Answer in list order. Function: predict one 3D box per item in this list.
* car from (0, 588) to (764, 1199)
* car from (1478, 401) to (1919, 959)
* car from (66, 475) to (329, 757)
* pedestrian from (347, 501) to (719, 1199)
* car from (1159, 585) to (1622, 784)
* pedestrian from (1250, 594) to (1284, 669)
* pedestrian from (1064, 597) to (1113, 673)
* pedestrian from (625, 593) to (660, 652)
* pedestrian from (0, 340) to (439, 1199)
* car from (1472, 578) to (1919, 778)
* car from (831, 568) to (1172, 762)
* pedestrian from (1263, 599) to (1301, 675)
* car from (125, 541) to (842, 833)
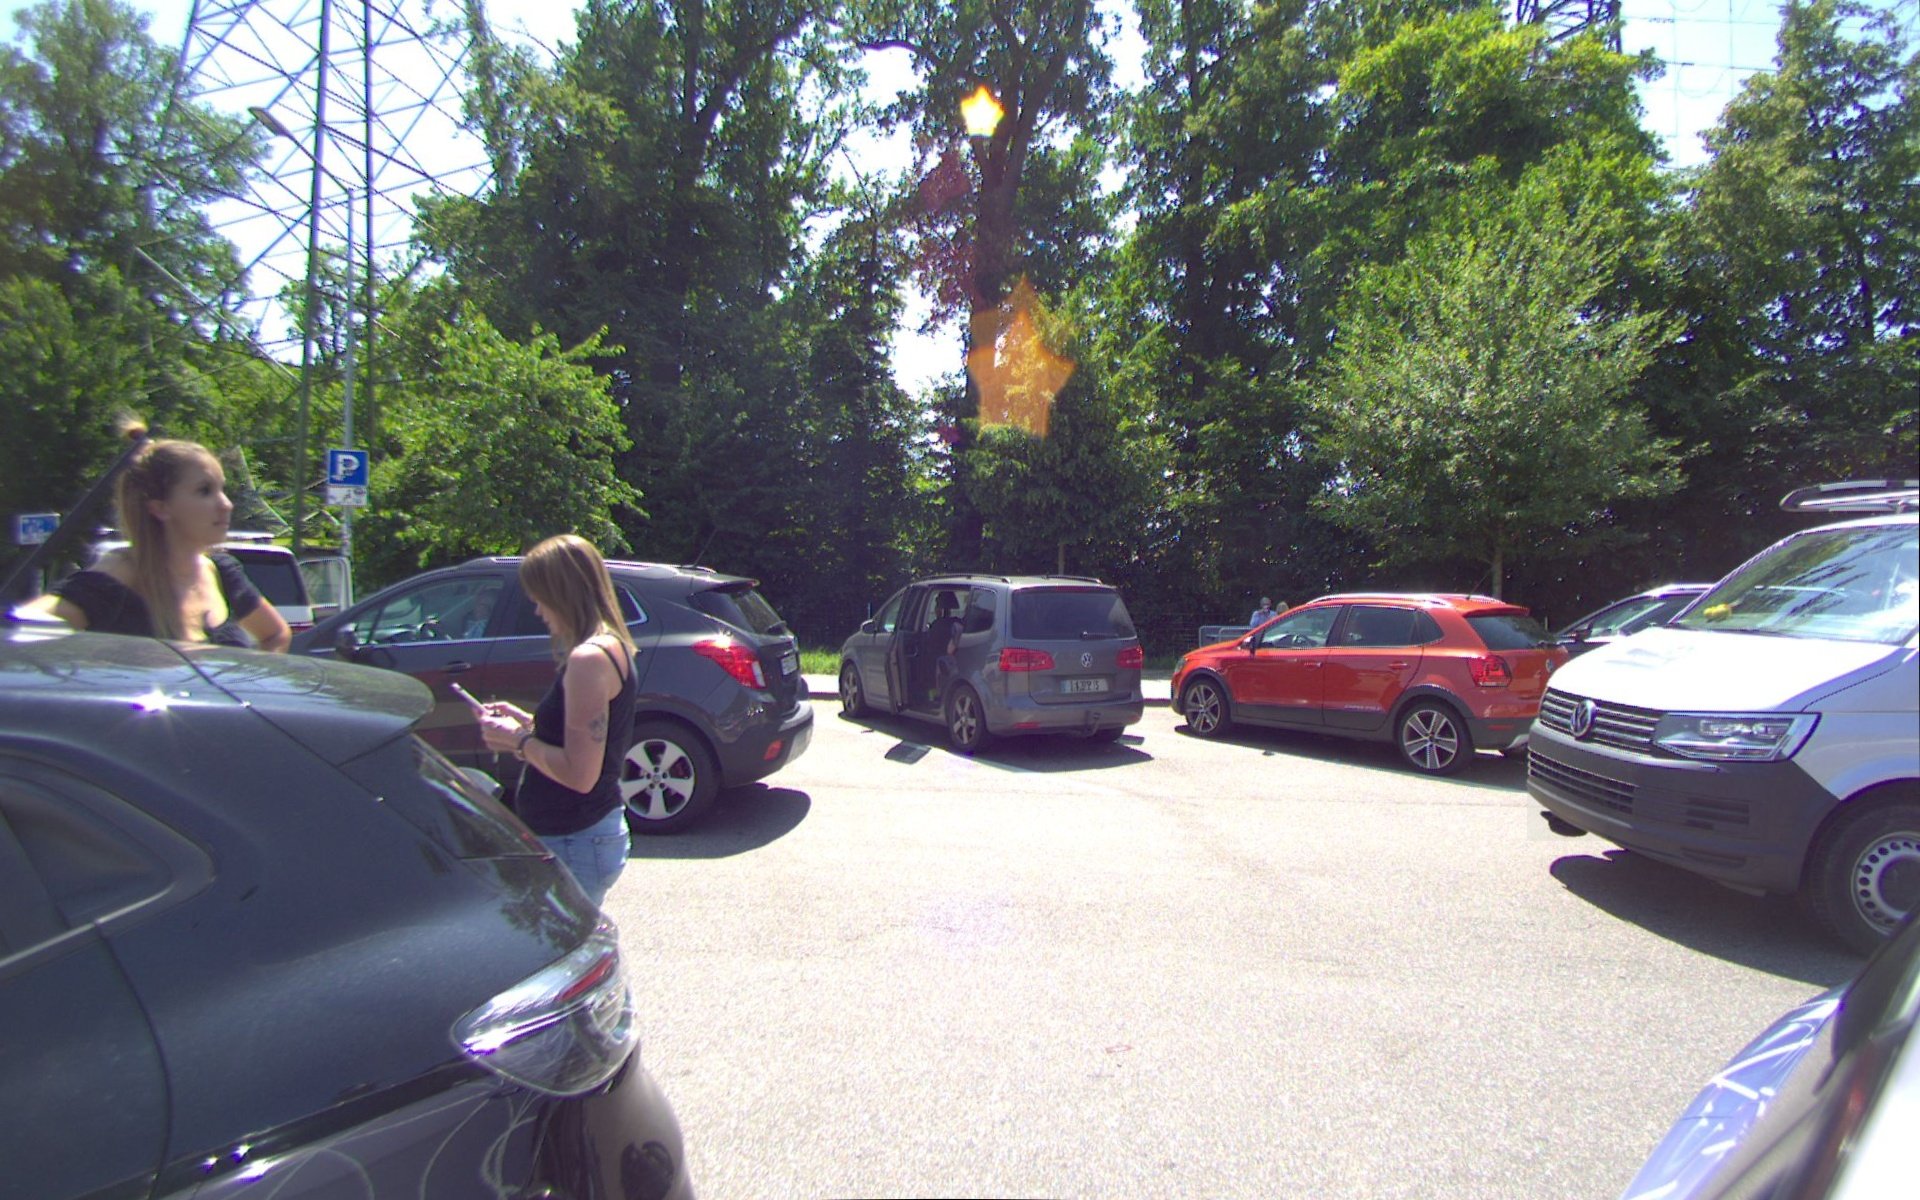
[{"bbox_3d":[-2.129,0.722,0.597,1.615,1.503,3.706,0,-1,44],"label":"car"},{"bbox_3d":[5.626,0.338,4.826,5.216,2.177,1.998,1,-1,4],"label":"car"},{"bbox_3d":[-8.067,0.095,10.637,1.885,2.353,4.089,0,1,-40],"label":"car"},{"bbox_3d":[-1.038,0.583,2.596,0.637,1.606,0.654,1,-1,3],"label":"pedestrian"},{"bbox_3d":[3.846,0.611,9.652,1.604,1.476,3.810,0,1,-34],"label":"car"},{"bbox_3d":[5.778,0.583,19.059,0.495,1.393,0.491,1,-1,0],"label":"pedestrian"},{"bbox_3d":[2.135,0.580,16.863,0.660,1.235,0.682,1,-2,-5],"label":"pedestrian"},{"bbox_3d":[-6.685,0.471,21.314,0.550,1.229,0.599,1,-1,-1],"label":"pedestrian"},{"bbox_3d":[-1.927,0.421,2.501,0.760,1.896,0.916,1,-1,2],"label":"pedestrian"},{"bbox_3d":[7.238,0.582,9.684,1.727,1.566,3.806,0,1,-39],"label":"car"},{"bbox_3d":[0.216,0.506,10.560,1.717,1.611,3.961,0,1,-30],"label":"car"},{"bbox_3d":[5.688,0.646,17.906,0.495,1.316,0.491,1,-1,0],"label":"pedestrian"},{"bbox_3d":[-2.895,0.498,6.831,3.973,1.644,1.850,1,0,1],"label":"car"}]
